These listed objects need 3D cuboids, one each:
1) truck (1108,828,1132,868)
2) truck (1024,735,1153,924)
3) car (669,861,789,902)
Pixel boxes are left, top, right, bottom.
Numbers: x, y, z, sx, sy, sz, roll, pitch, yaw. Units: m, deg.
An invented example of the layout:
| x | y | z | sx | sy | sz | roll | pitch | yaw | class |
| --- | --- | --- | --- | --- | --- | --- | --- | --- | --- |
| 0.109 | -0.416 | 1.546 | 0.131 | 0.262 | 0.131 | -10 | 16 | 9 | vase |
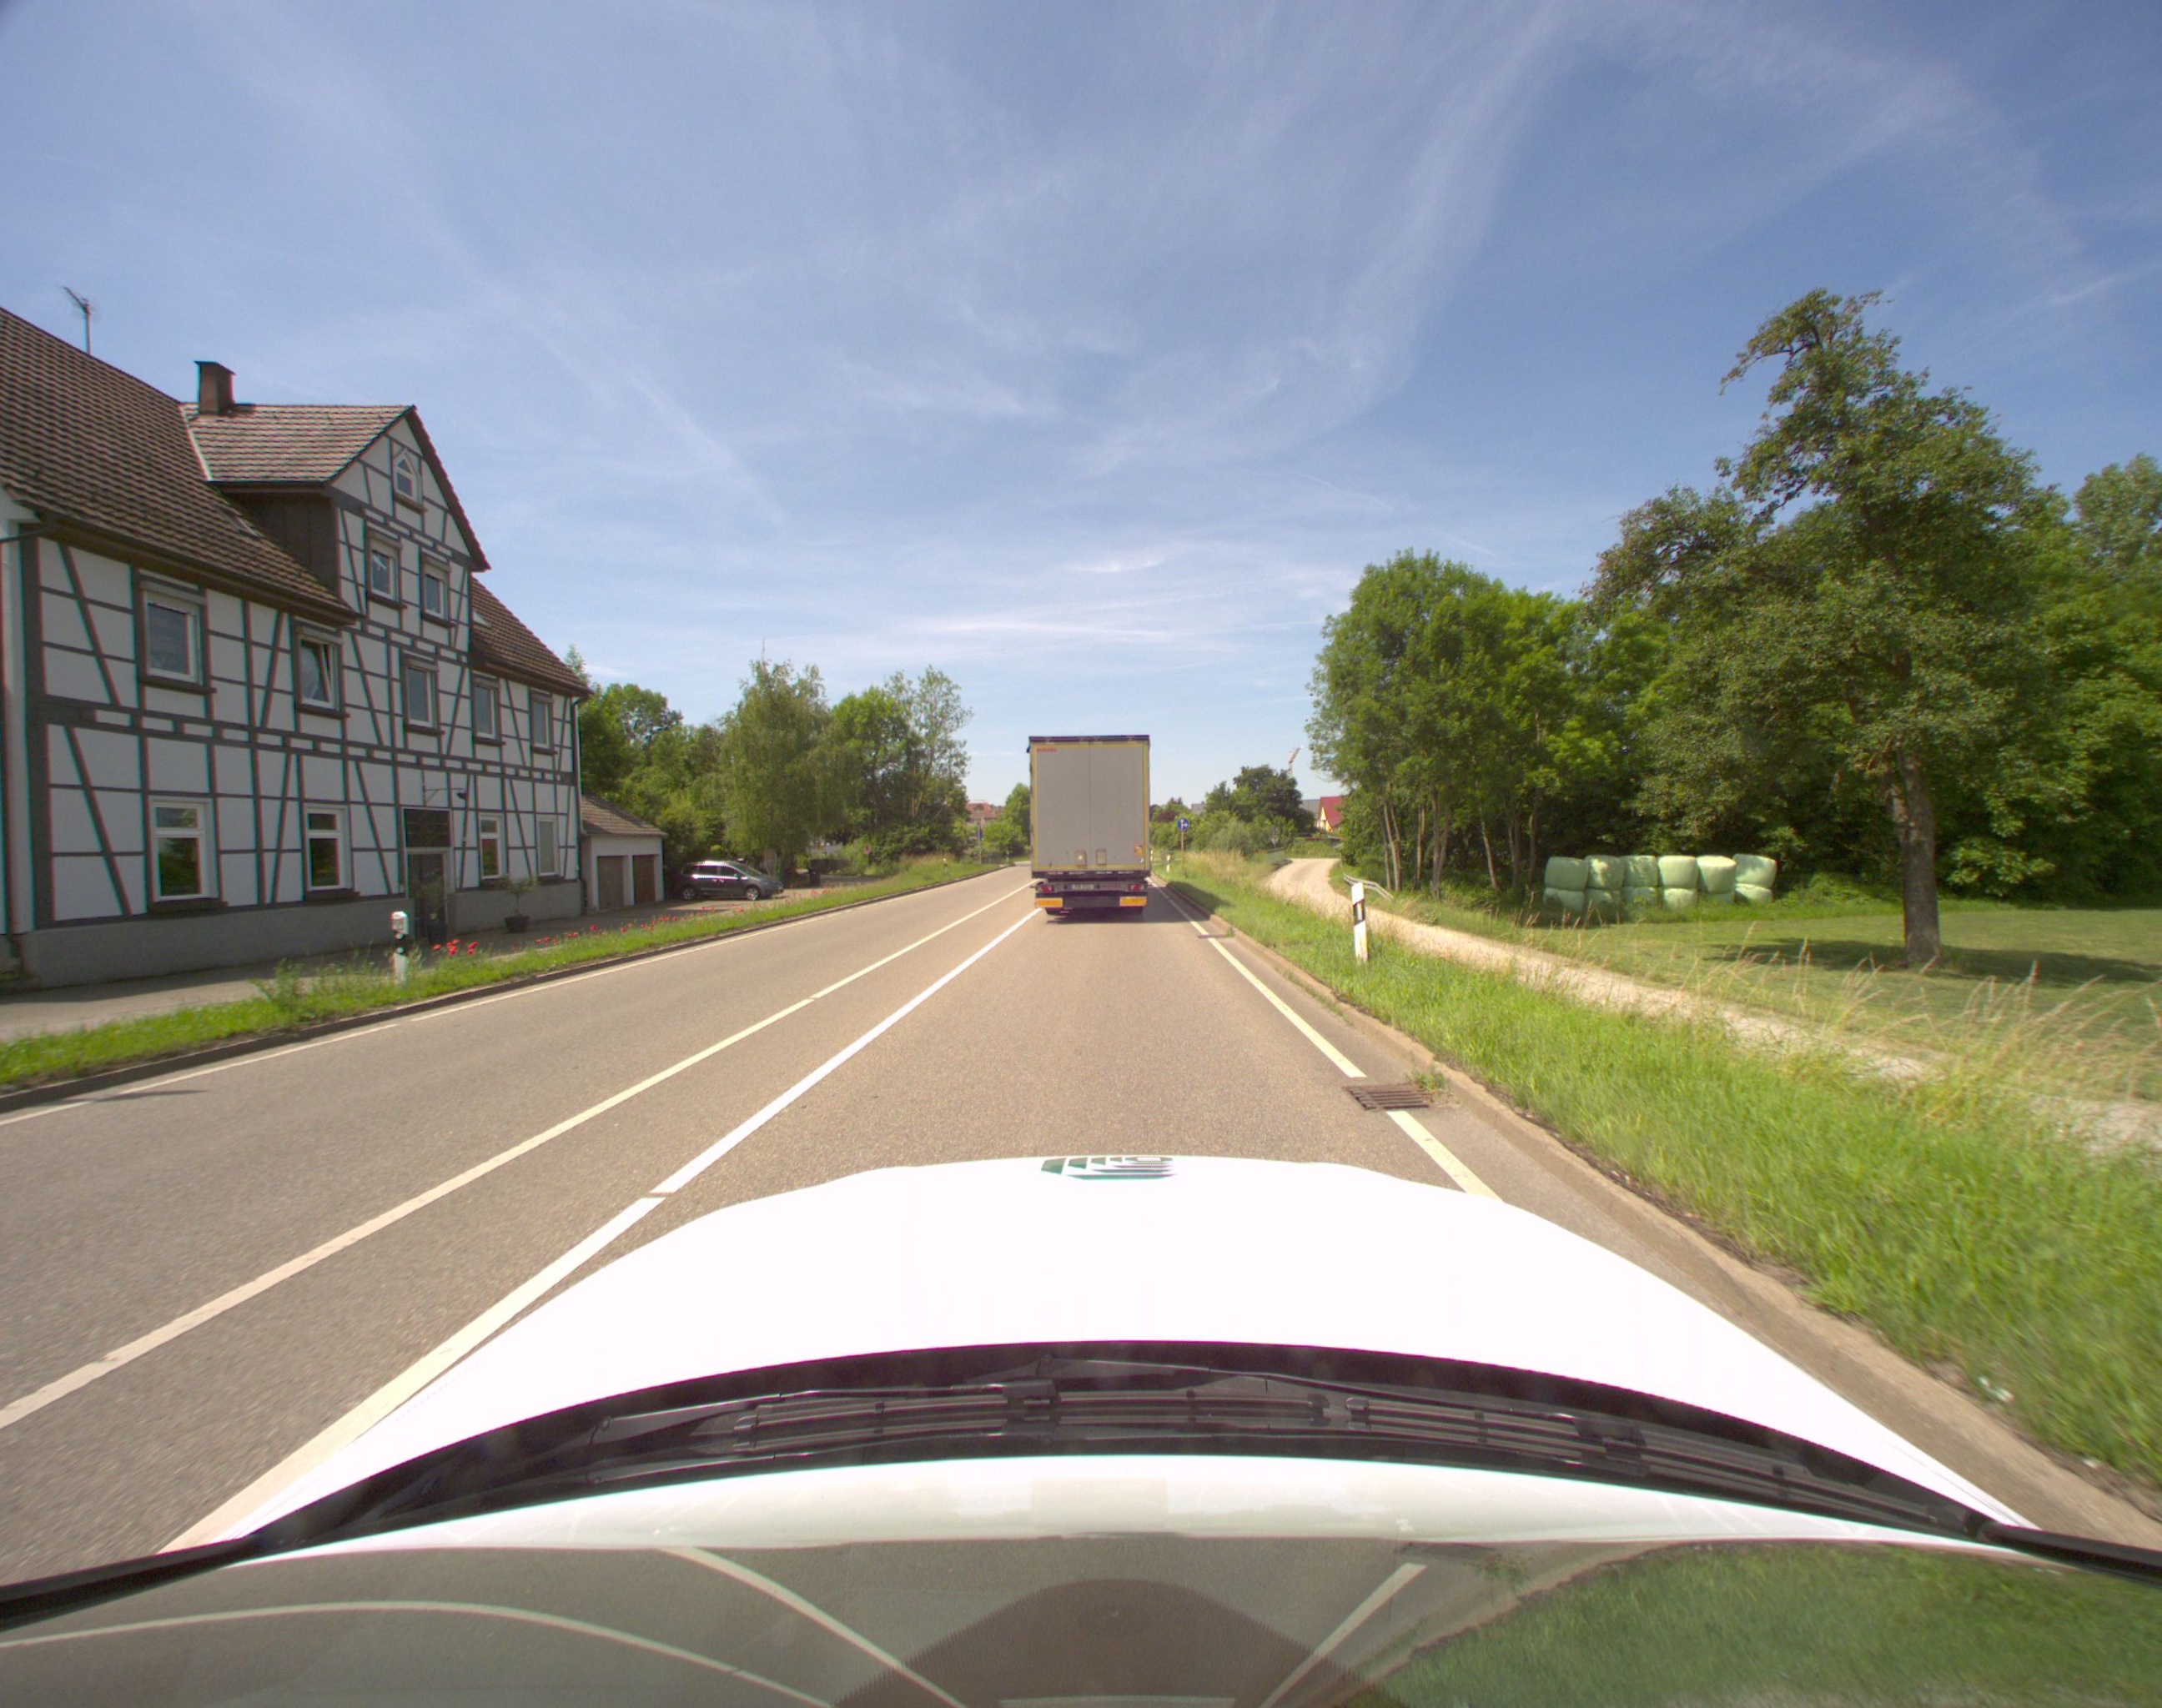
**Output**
| x | y | z | sx | sy | sz | roll | pitch | yaw | class |
| --- | --- | --- | --- | --- | --- | --- | --- | --- | --- |
| 4.721 | -0.697 | 99.709 | 2.636 | 4.601 | 10.817 | 0 | 0 | 1 | truck |
| 0.268 | -0.526 | 21.503 | 2.638 | 3.917 | 8.827 | -1 | 0 | 1 | truck |
| -16.128 | 1.231 | 37.476 | 4.651 | 1.720 | 1.861 | 0 | 2 | -2 | car |
